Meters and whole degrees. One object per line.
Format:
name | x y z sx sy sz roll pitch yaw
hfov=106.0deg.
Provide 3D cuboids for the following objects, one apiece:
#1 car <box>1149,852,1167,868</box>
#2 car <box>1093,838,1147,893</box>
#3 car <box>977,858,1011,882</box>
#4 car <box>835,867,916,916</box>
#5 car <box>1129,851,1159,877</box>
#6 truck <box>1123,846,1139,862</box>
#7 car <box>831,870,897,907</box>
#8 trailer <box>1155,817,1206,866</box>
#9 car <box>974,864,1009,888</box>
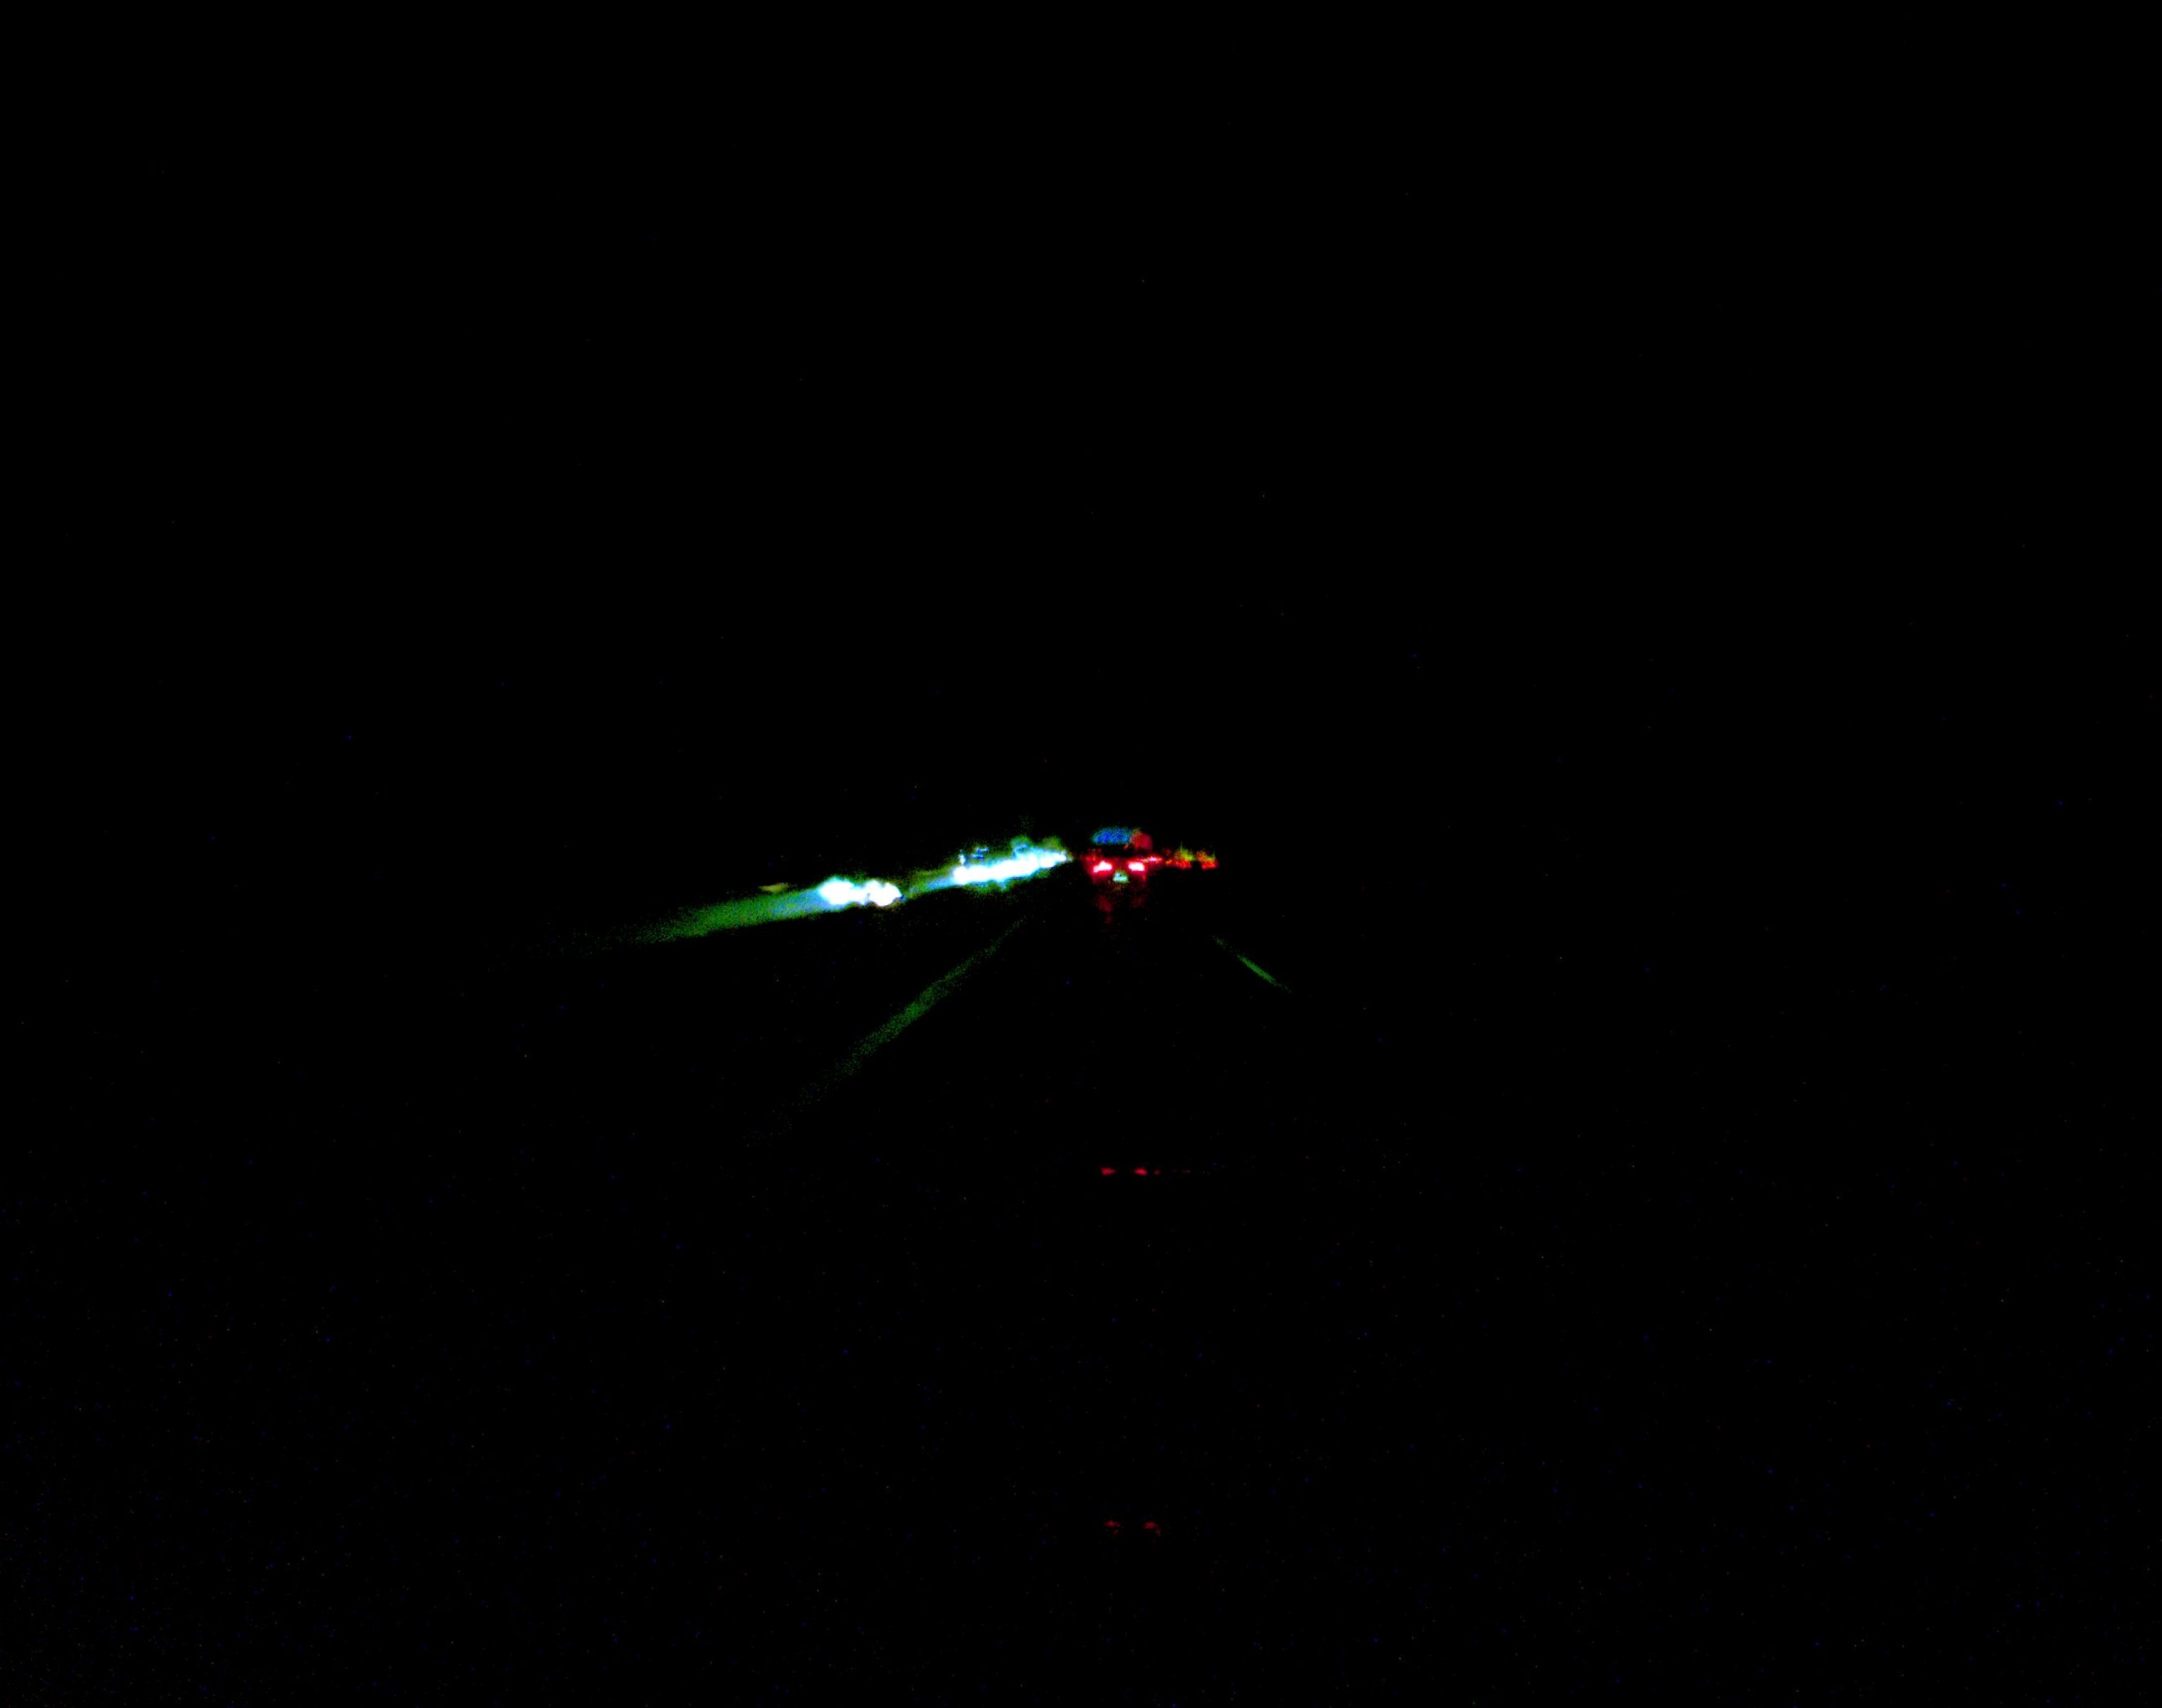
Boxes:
car | 10.555 0.788 111.941 1.988 2.013 3.997 -3 -1 -2
car | 1.486 0.449 32.264 1.987 2.014 4.000 0 -1 1
car | -6.750 1.236 63.462 1.909 1.684 4.508 -3 -1 2
car | -7.925 1.405 31.816 1.909 1.684 4.002 -3 -1 2
car | 5.266 0.798 68.335 1.988 2.013 3.997 -3 -1 -2
truck | 11.540 0.073 188.613 3.027 3.297 11.380 -3 -1 0
car | -10.992 1.710 41.610 1.909 1.684 4.508 -3 -1 2
trailer | 9.242 -1.039 77.153 3.031 4.108 13.827 -3 -1 0
car | -6.740 1.663 62.046 1.909 1.684 4.508 -3 -1 2
